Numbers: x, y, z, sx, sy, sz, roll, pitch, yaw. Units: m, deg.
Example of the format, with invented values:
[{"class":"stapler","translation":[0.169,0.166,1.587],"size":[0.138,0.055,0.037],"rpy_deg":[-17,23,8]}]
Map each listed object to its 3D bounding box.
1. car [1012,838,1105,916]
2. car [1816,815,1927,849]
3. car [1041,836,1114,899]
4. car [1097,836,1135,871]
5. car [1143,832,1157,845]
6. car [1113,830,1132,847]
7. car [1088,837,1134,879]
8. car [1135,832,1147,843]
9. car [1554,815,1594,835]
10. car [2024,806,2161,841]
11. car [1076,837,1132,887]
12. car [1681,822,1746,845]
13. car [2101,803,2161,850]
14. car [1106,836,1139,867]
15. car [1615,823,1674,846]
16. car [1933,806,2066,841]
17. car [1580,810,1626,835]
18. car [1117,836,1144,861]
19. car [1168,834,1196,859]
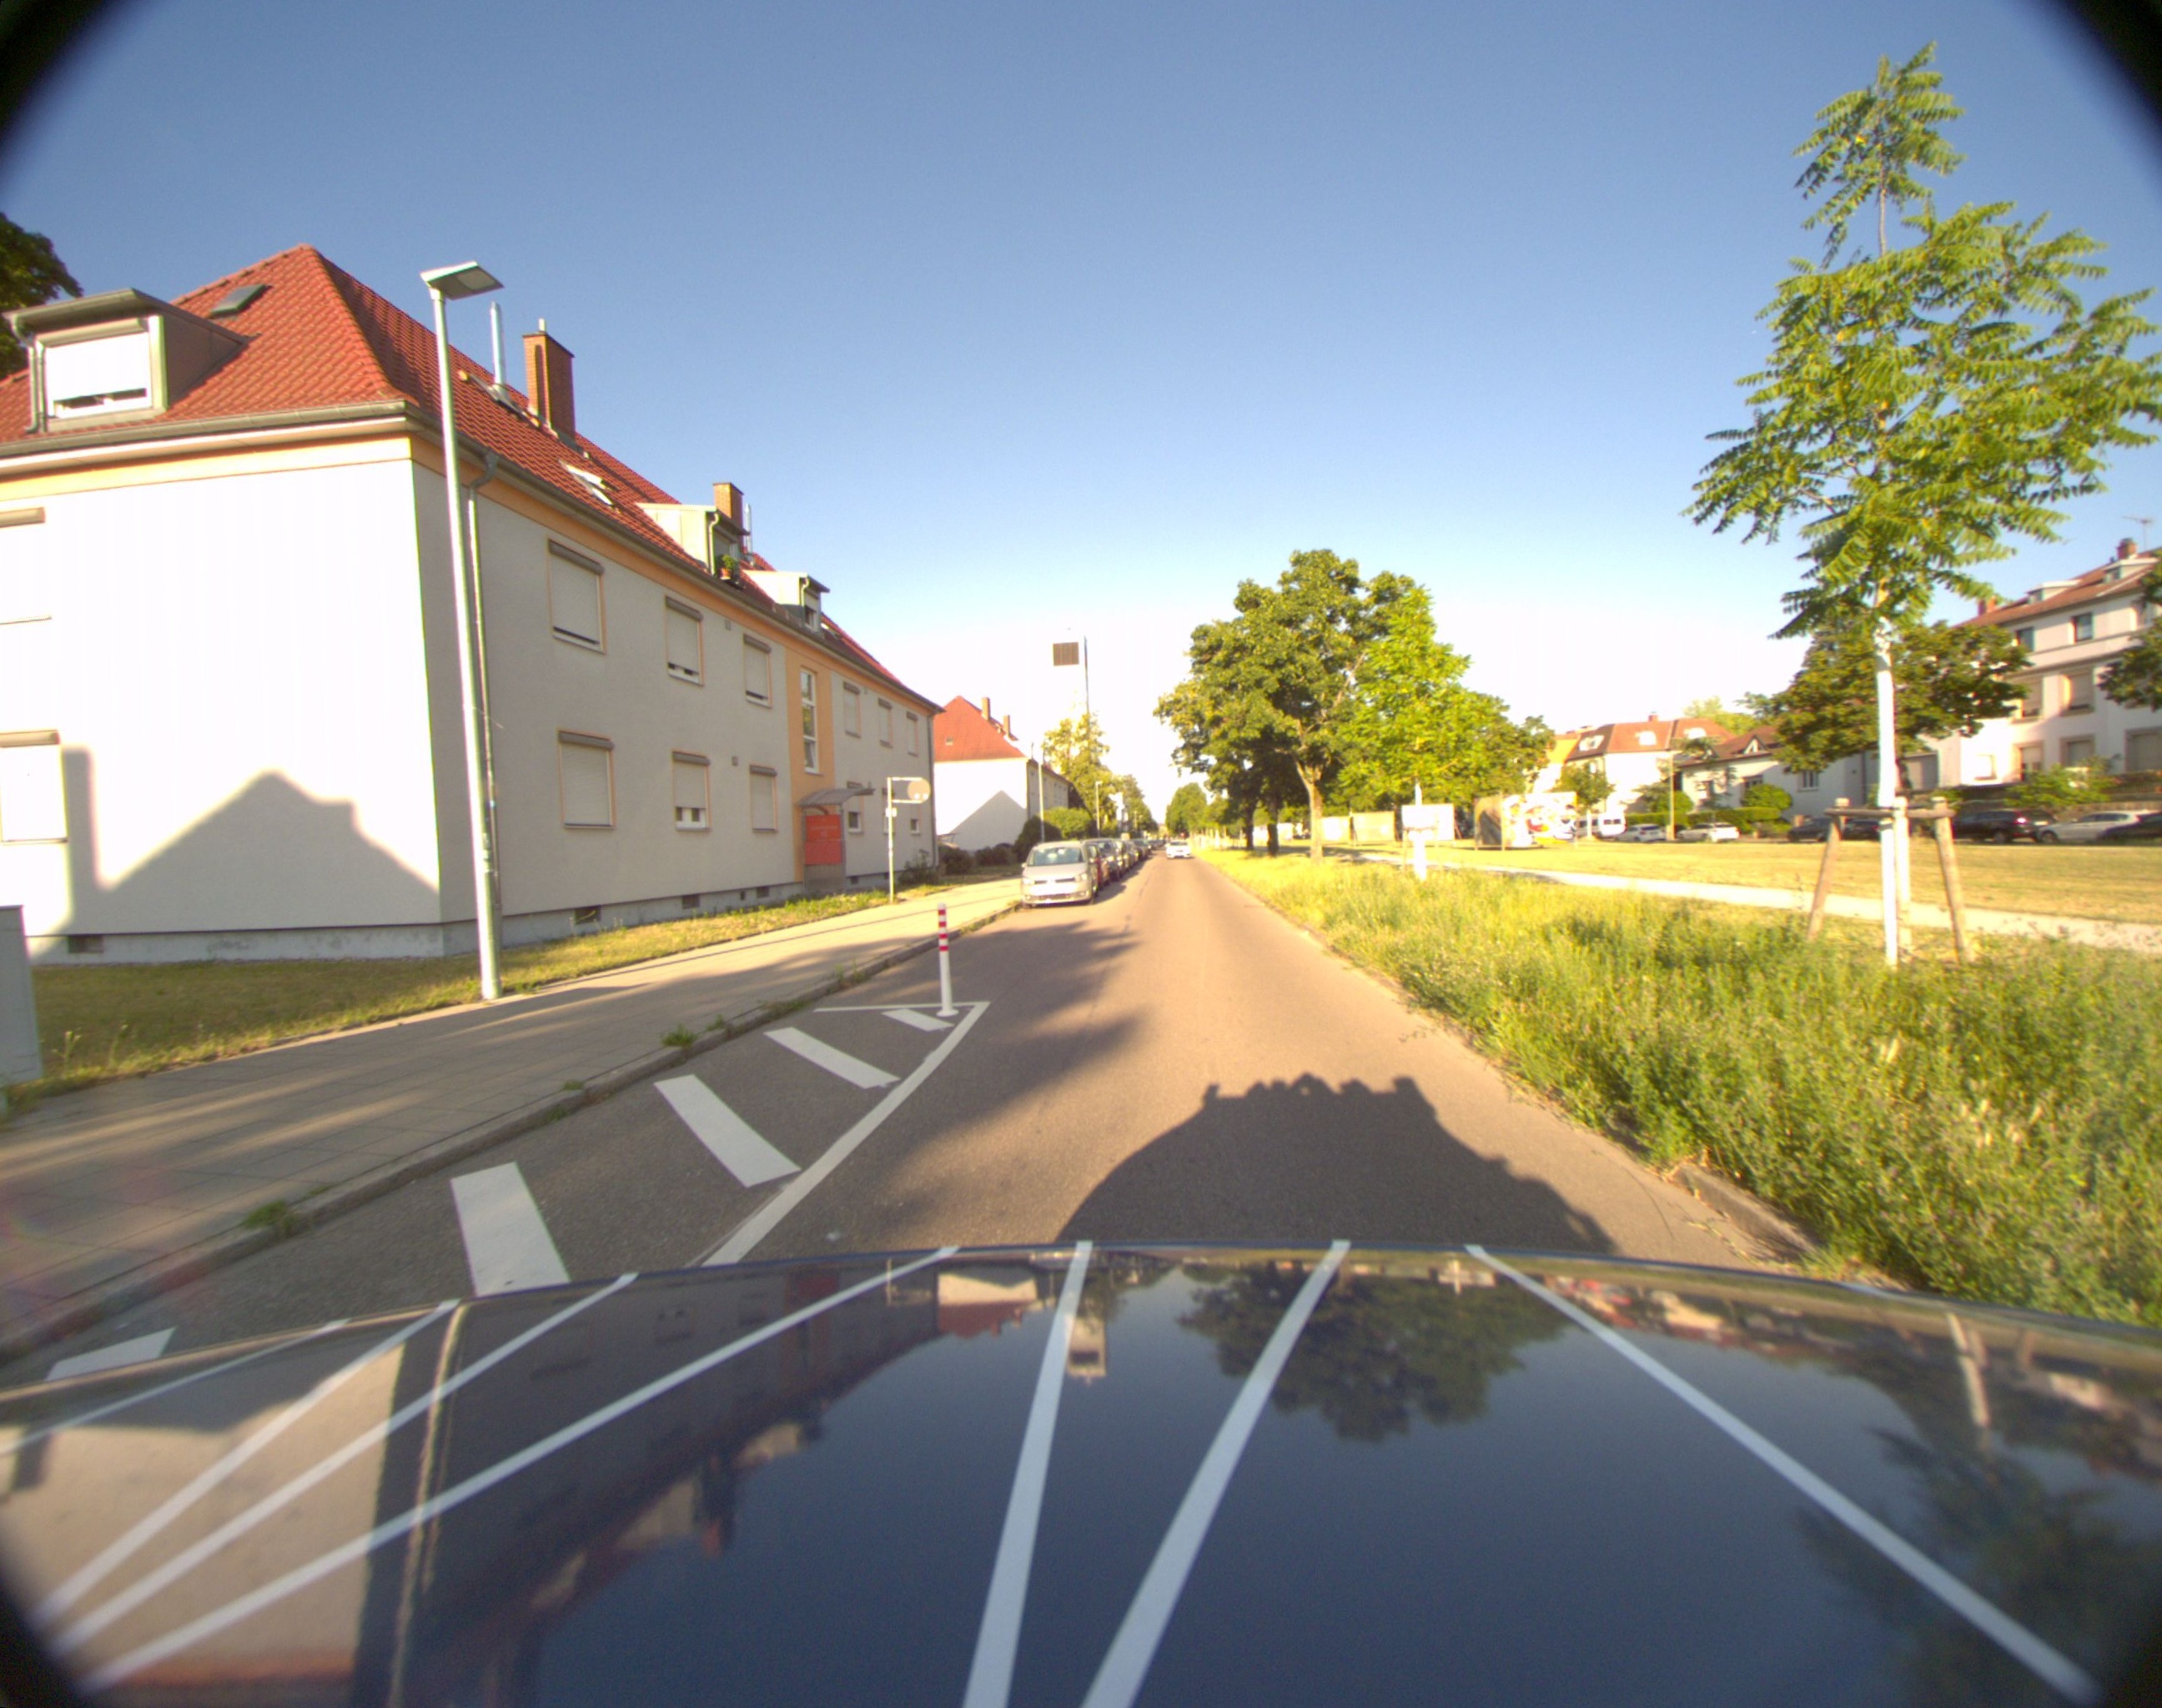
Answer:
[{"class":"car","translation":[-0.461,0.500,19.647],"size":[1.849,1.686,4.000],"rpy_deg":[-4,1,5]},{"class":"car","translation":[39.308,-1.089,37.907],"size":[1.824,1.571,3.837],"rpy_deg":[-2,2,7]},{"class":"car","translation":[-0.013,0.349,23.994],"size":[1.849,1.686,4.000],"rpy_deg":[-4,1,5]},{"class":"car","translation":[1.962,-0.069,41.477],"size":[1.849,1.686,4.000],"rpy_deg":[-4,1,5]},{"class":"car","translation":[9.261,-2.080,102.211],"size":[1.849,1.686,4.000],"rpy_deg":[-4,1,5]},{"class":"car","translation":[4.571,-1.660,82.776],"size":[1.849,1.686,4.000],"rpy_deg":[-4,1,5]},{"class":"car","translation":[1.453,0.131,35.554],"size":[1.849,1.686,4.000],"rpy_deg":[-4,1,5]},{"class":"car","translation":[10.174,-2.764,127.925],"size":[1.849,1.686,4.000],"rpy_deg":[-4,1,5]},{"class":"car","translation":[52.025,-3.041,80.282],"size":[1.997,1.935,4.133],"rpy_deg":[-2,2,10]},{"class":"car","translation":[44.441,-1.329,33.231],"size":[1.640,1.438,4.009],"rpy_deg":[-1,2,6]},{"class":"car","translation":[0.975,0.263,29.699],"size":[1.849,1.686,4.000],"rpy_deg":[-4,1,5]},{"class":"car","translation":[47.257,-1.528,56.872],"size":[1.824,1.571,3.968],"rpy_deg":[-2,2,7]},{"class":"car","translation":[37.305,-0.948,25.258],"size":[1.824,1.571,3.837],"rpy_deg":[-2,2,7]},{"class":"car","translation":[2.633,-0.200,47.244],"size":[1.849,1.686,4.000],"rpy_deg":[-4,1,5]},{"class":"car","translation":[41.400,-1.453,55.960],"size":[1.824,1.571,3.837],"rpy_deg":[-2,2,7]},{"class":"car","translation":[45.087,-1.482,37.446],"size":[1.824,1.571,4.163],"rpy_deg":[-2,2,7]},{"class":"car","translation":[48.732,-2.915,71.016],"size":[1.997,2.201,4.133],"rpy_deg":[-2,2,10]},{"class":"car","translation":[3.747,-0.428,56.661],"size":[1.849,1.686,4.000],"rpy_deg":[-4,1,5]},{"class":"car","translation":[7.783,-0.602,58.758],"size":[1.869,1.686,4.301],"rpy_deg":[-4,1,5]}]
